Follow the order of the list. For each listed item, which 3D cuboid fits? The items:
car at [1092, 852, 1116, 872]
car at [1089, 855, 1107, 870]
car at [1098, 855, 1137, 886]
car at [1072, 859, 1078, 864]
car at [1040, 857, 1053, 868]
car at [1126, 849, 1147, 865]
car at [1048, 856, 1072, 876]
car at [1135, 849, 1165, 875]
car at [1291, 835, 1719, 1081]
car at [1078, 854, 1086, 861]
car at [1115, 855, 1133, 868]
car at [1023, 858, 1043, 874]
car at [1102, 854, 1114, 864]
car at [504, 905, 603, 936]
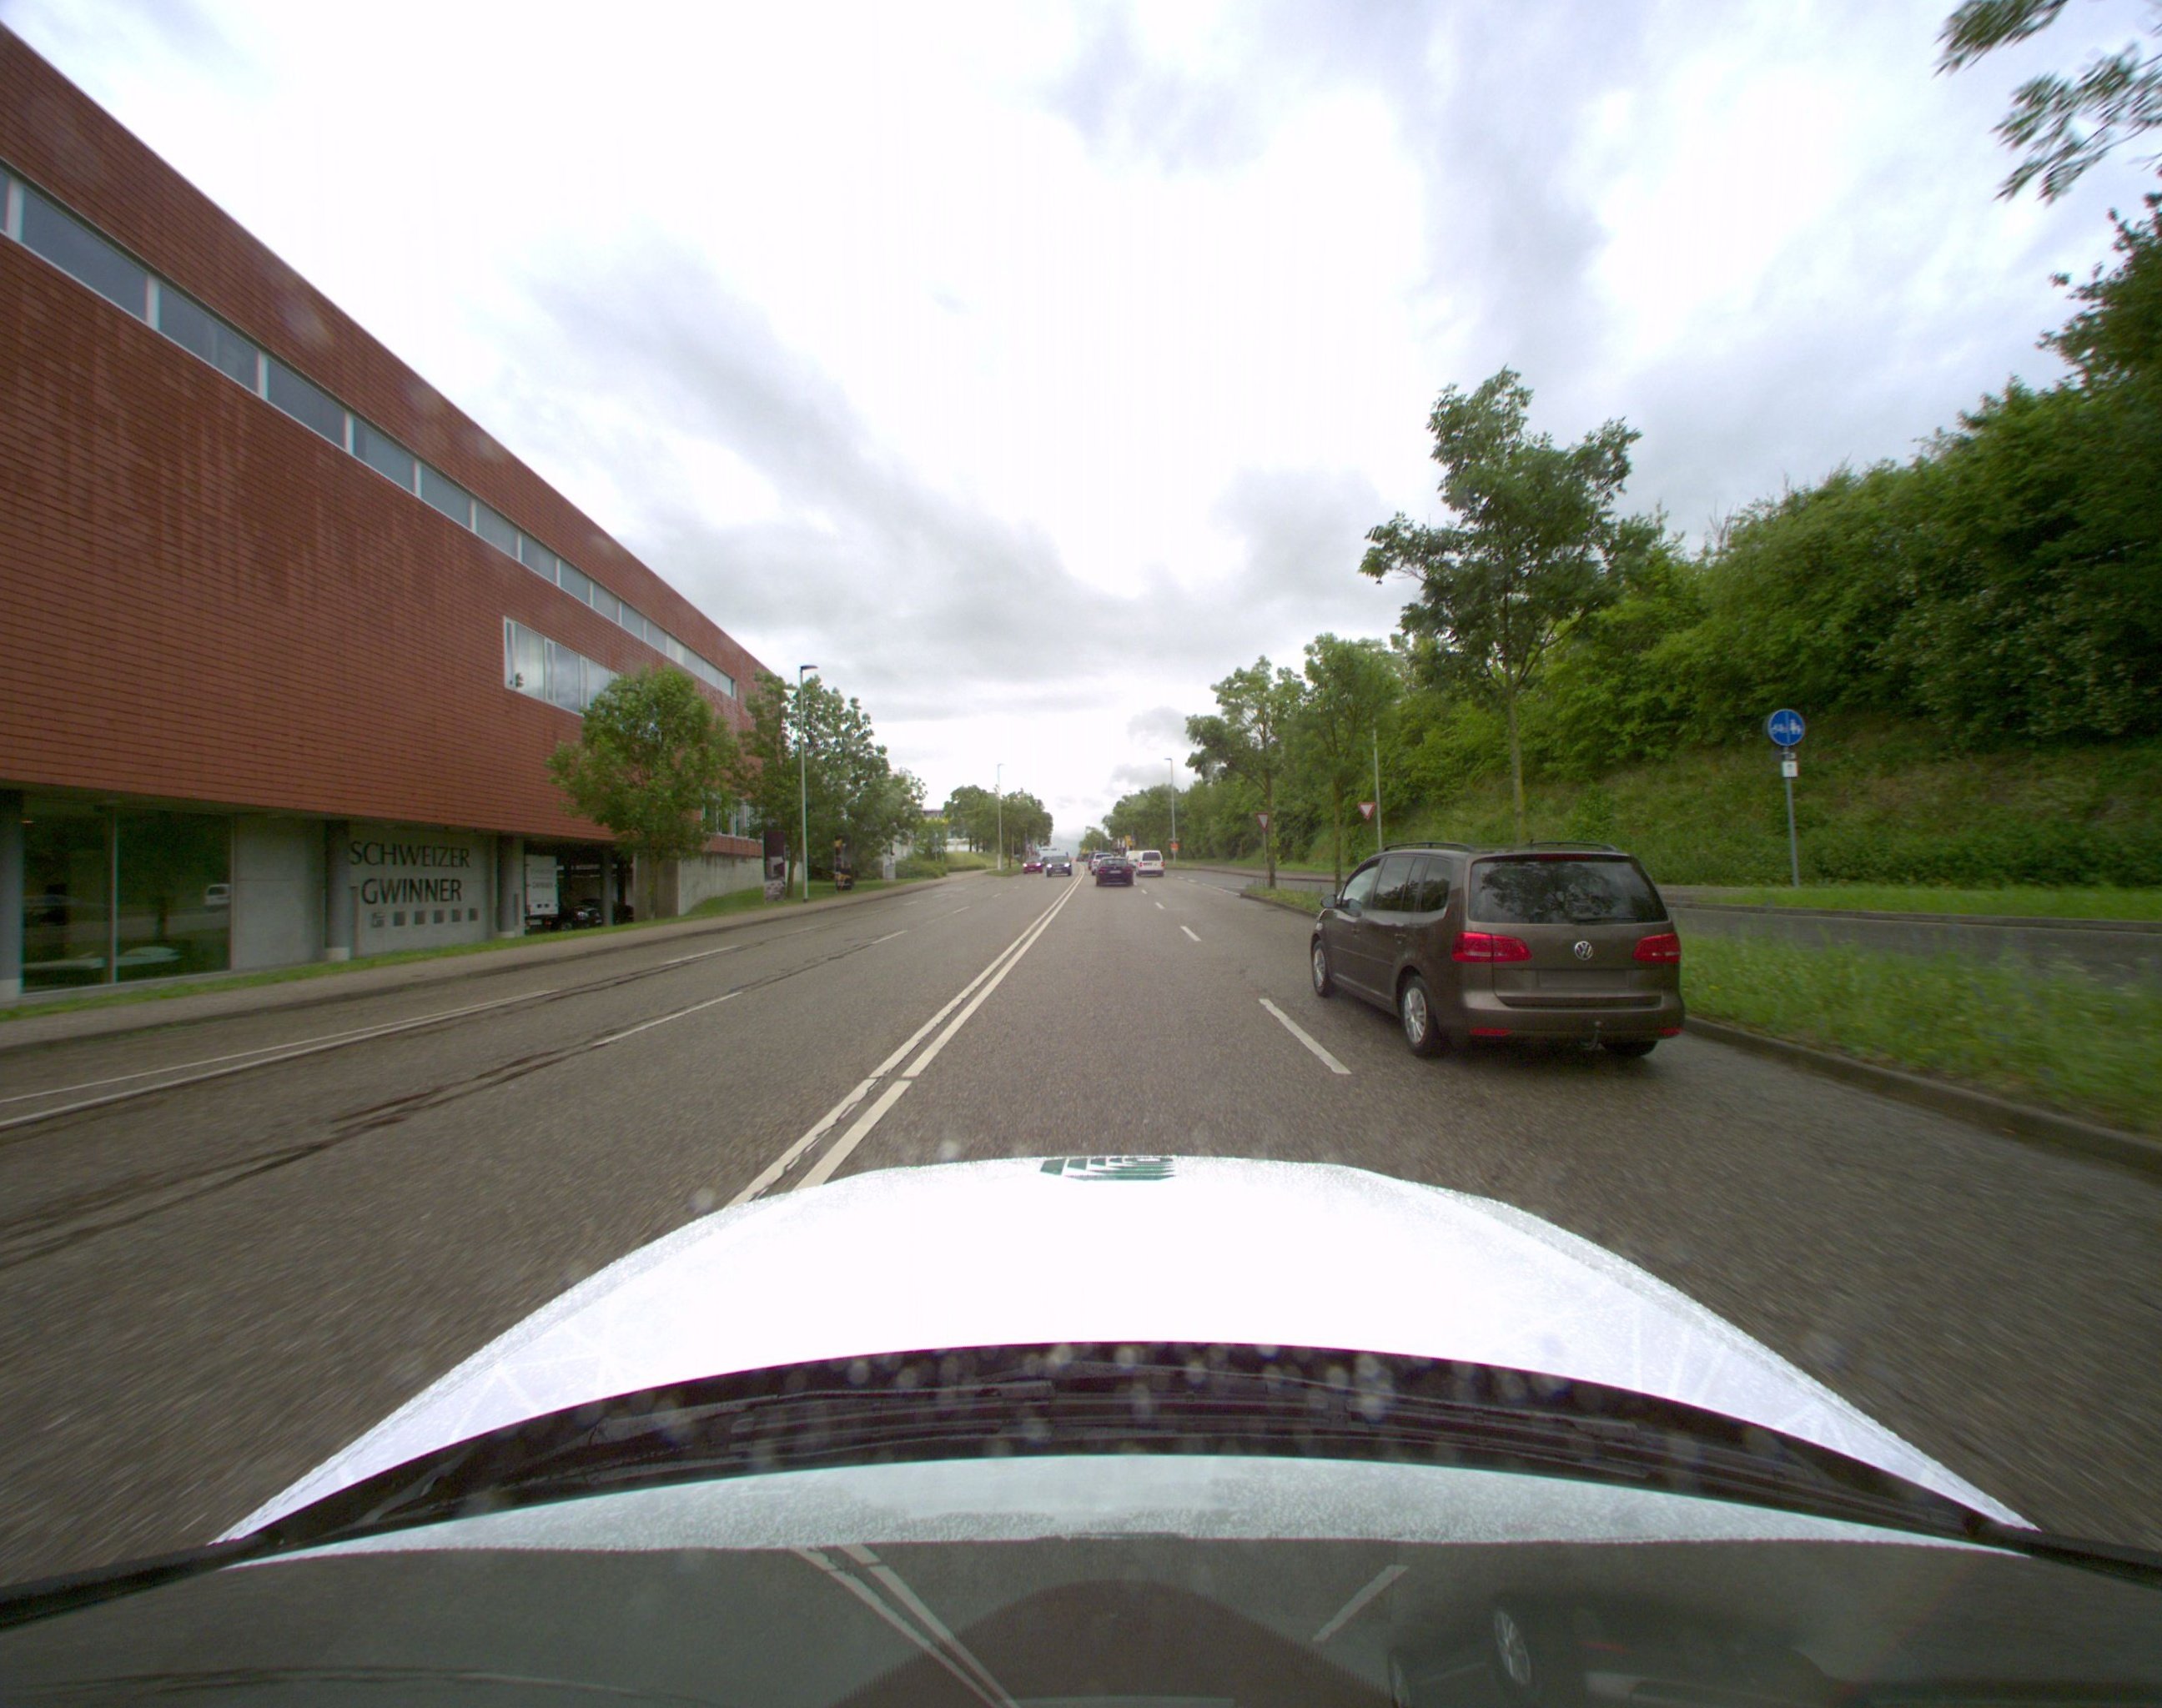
[{"bbox_3d":[1.774,0.636,62.844,1.788,1.510,4.000,0,-1,1],"label":"car"},{"bbox_3d":[1.776,0.873,82.989,1.787,1.510,4.001,0,-1,2],"label":"car"},{"bbox_3d":[1.851,0.794,41.260,1.820,1.468,4.002,-1,0,2],"label":"car"},{"bbox_3d":[-1.815,2.126,237.876,1.788,1.510,3.999,0,-1,0],"label":"car"},{"bbox_3d":[-4.875,1.195,115.293,1.789,1.510,3.997,0,-1,-1],"label":"car"},{"bbox_3d":[5.296,0.321,78.358,1.788,1.510,4.000,0,-1,1],"label":"car"},{"bbox_3d":[-1.635,0.937,63.957,1.789,1.510,3.997,0,-1,-1],"label":"car"},{"bbox_3d":[4.750,0.526,56.423,1.821,1.759,4.001,0,0,1],"label":"car"},{"bbox_3d":[3.302,0.677,7.398,1.680,1.581,4.217,0,0,0],"label":"car"},{"bbox_3d":[0.187,0.873,186.414,1.788,1.510,3.999,0,-1,0],"label":"car"},{"bbox_3d":[4.857,0.855,93.194,1.789,1.510,3.997,0,-1,-1],"label":"car"},{"bbox_3d":[-4.721,1.209,80.949,1.789,1.510,3.997,0,-1,-1],"label":"car"},{"bbox_3d":[4.201,0.850,125.654,1.787,1.510,4.001,0,-1,2],"label":"car"},{"bbox_3d":[-23.624,2.951,36.529,3.520,1.284,1.522,0,-1,4],"label":"car"}]
